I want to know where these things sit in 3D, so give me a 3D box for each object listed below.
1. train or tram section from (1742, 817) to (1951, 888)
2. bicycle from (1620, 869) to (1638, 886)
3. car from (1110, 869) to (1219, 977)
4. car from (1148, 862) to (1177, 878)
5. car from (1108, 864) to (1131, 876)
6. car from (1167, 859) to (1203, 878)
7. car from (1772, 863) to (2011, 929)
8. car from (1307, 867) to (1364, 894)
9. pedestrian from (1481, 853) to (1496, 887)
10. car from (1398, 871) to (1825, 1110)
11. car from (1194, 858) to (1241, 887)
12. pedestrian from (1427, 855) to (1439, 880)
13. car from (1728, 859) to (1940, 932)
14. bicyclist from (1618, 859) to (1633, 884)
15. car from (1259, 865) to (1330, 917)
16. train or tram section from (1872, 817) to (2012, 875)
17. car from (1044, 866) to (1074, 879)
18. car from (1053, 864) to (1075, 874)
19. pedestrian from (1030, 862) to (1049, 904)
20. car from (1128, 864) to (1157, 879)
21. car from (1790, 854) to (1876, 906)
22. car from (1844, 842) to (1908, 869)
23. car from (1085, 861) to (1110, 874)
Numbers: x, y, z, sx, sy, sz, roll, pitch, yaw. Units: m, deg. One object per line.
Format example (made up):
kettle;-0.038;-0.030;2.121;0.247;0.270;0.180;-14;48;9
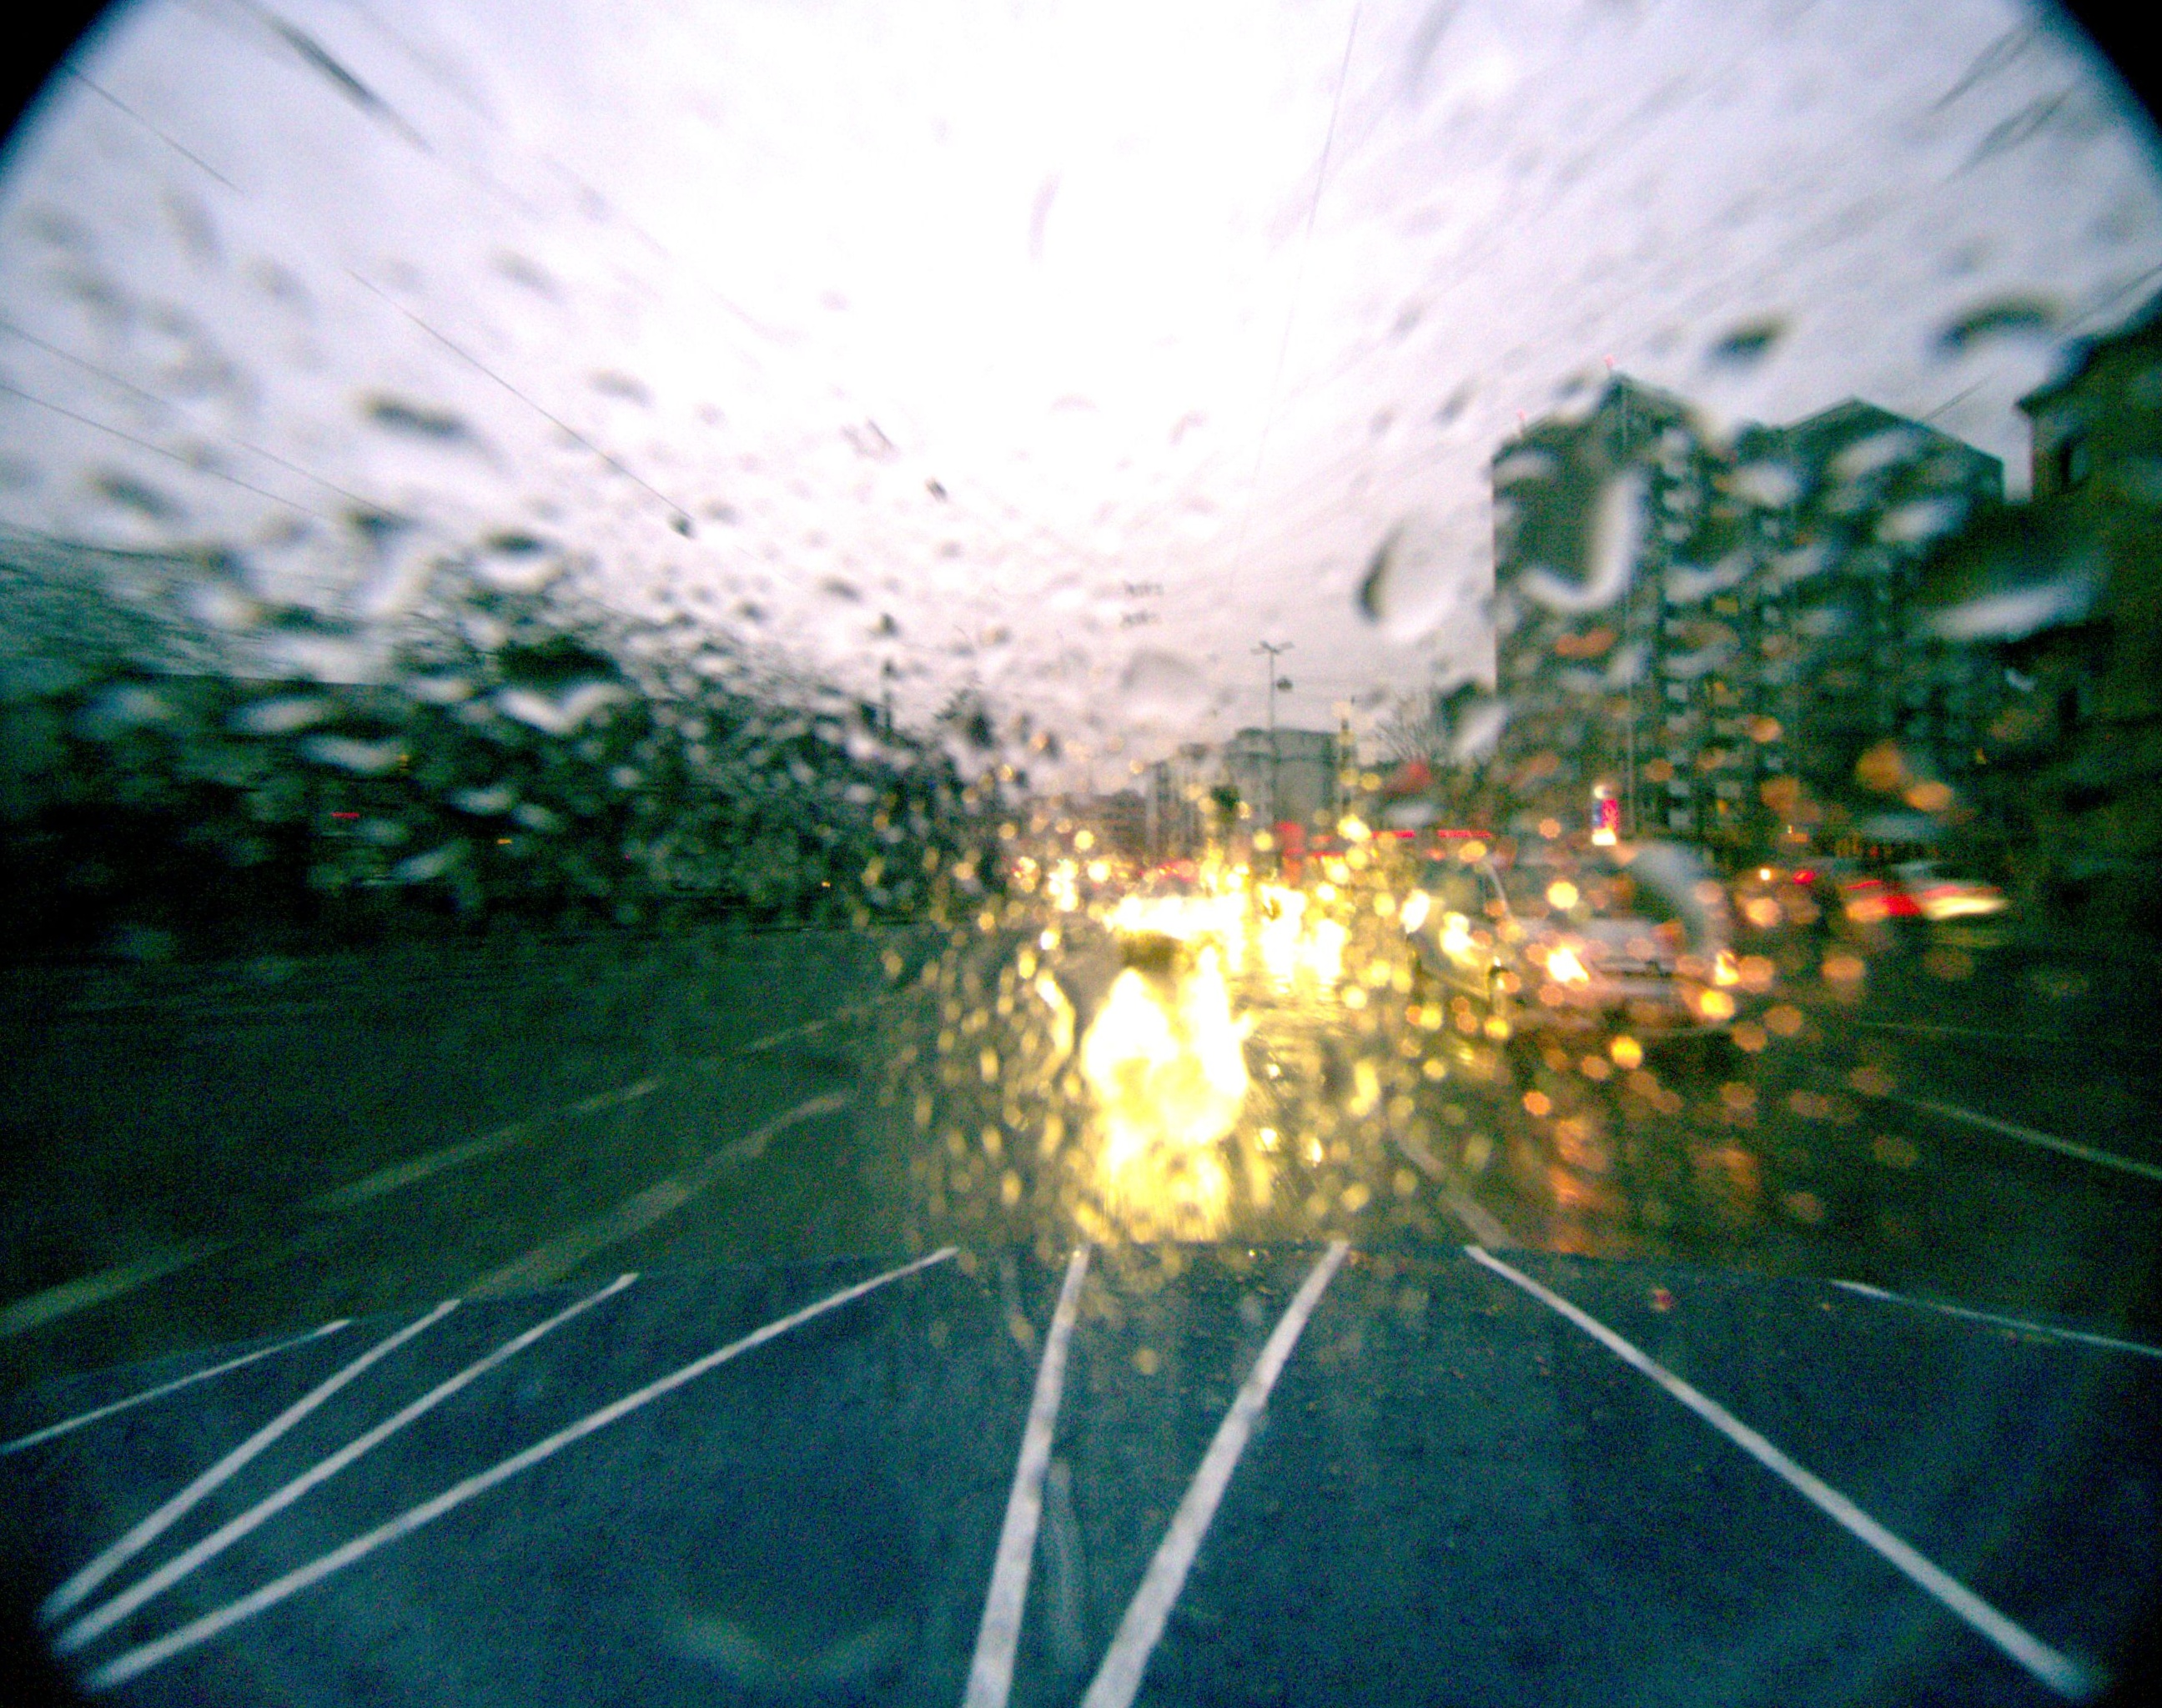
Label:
train or tram section;41.095;-0.231;40.450;16.331;3.169;3.162;-2;0;-28
bicycle;30.006;1.268;41.618;0.505;0.894;1.989;-2;-1;44
car;1.624;1.119;13.728;1.648;1.575;3.807;-1;0;10
car;8.734;1.702;81.670;1.651;1.620;4.655;0;-1;-14
car;4.811;1.983;95.785;1.652;1.478;3.995;0;-1;-16
car;11.584;1.604;84.960;2.002;1.934;4.847;2;-1;-18
car;19.296;0.934;18.329;1.685;1.383;3.611;-1;0;-9
car;14.838;1.526;44.567;1.685;1.449;4.061;-1;0;-5
pedestrian;21.517;0.831;40.149;0.468;1.761;0.629;-1;0;2
car;4.474;0.986;7.269;1.648;1.539;4.112;-1;0;8
car;8.262;1.106;46.256;1.820;1.732;4.185;0;-1;-5
pedestrian;25.832;1.012;55.777;0.629;1.782;0.531;-1;0;-31
car;16.700;0.855;17.065;1.491;1.478;3.151;-1;0;-5
bicyclist;30.071;0.961;41.927;0.505;1.382;0.971;-2;0;44
car;6.831;1.138;24.621;1.751;1.534;4.003;0;-1;9
train or tram section;53.234;-0.566;46.883;11.166;3.218;3.162;-2;0;-28
car;-2.416;1.998;83.061;1.971;1.378;4.527;0;-1;-19
car;-2.601;2.348;116.470;1.971;1.505;4.527;0;-1;-19
pedestrian;-1.889;1.307;34.374;0.573;1.827;0.684;5;-1;8
car;6.410;1.843;80.052;1.650;1.441;3.845;-1;0;-18
car;24.021;0.762;24.218;4.237;1.516;1.681;0;0;-42
car;59.094;0.115;56.496;4.005;2.001;1.996;0;-1;-24
car;2.262;1.891;103.936;1.971;1.772;4.527;0;-1;-19
